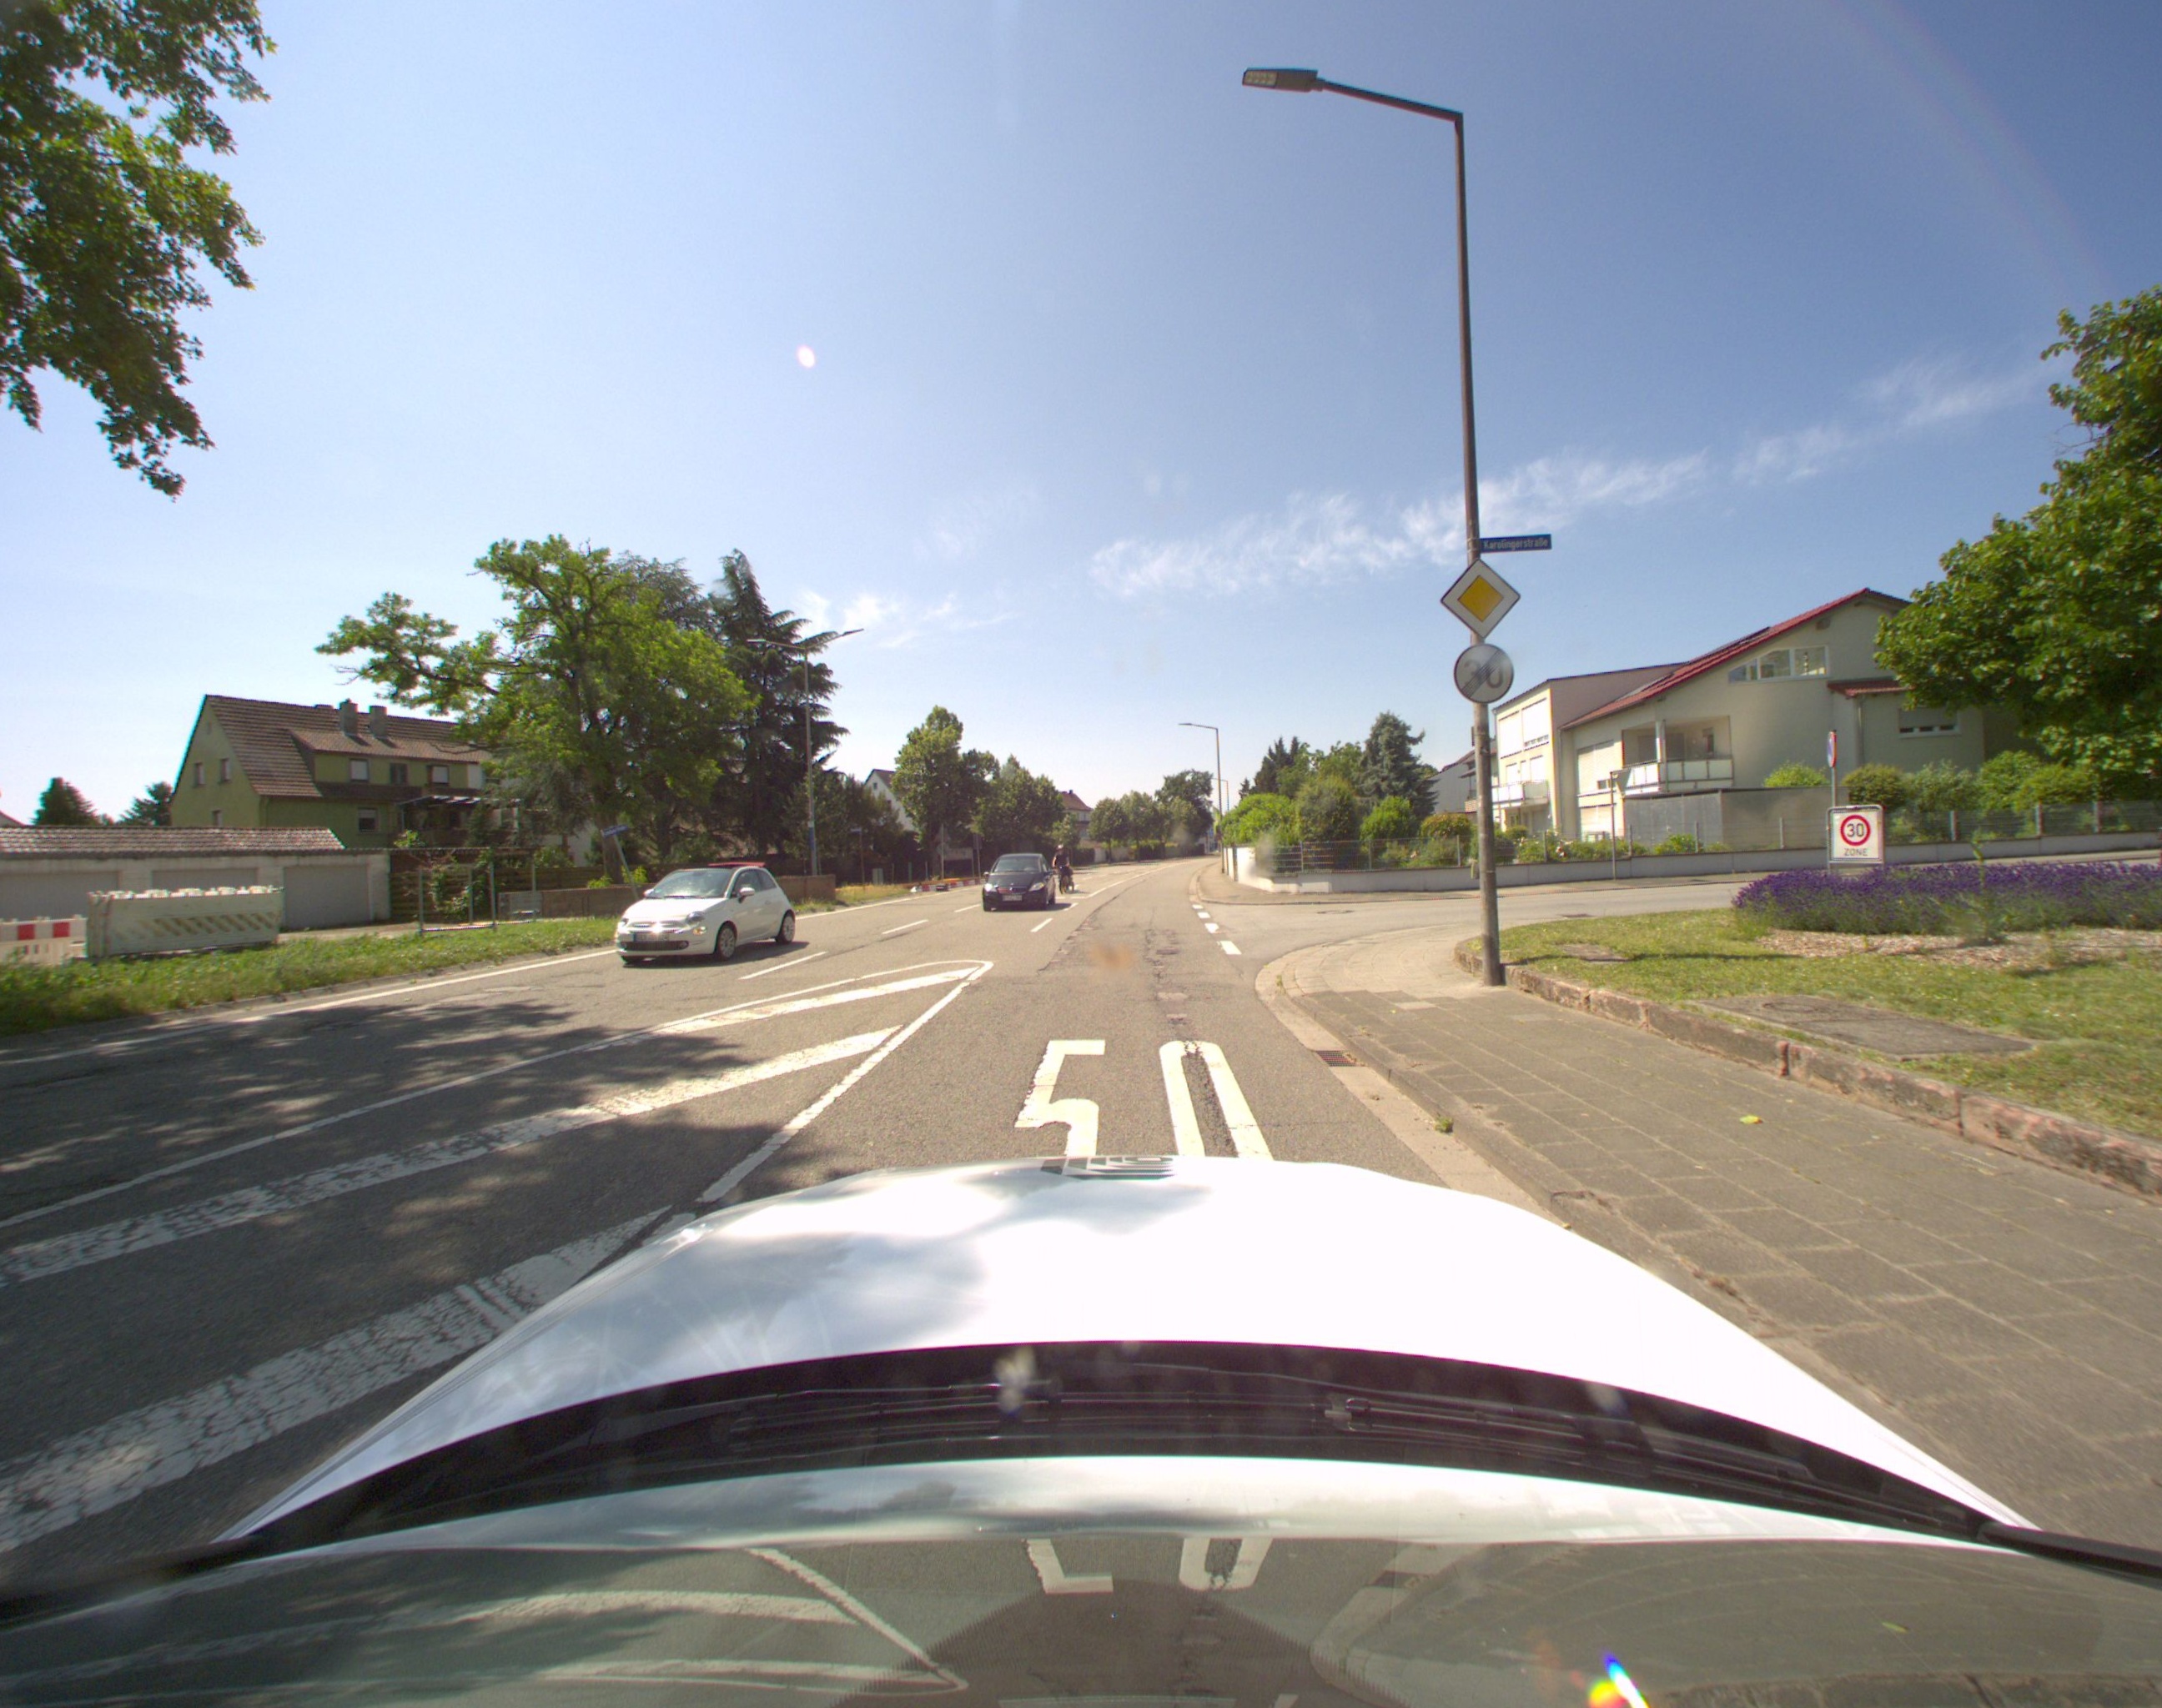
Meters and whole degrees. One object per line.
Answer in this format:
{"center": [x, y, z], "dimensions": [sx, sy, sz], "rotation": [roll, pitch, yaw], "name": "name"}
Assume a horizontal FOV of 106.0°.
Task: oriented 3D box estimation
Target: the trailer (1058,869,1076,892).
{"center": [-0.568, 1.061, 33.117], "dimensions": [0.567, 0.856, 1.134], "rotation": [-3, 0, 6], "name": "trailer"}

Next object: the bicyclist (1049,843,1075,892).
{"center": [-0.723, 0.521, 31.565], "dimensions": [0.841, 1.865, 0.978], "rotation": [-2, 0, 6], "name": "bicyclist"}

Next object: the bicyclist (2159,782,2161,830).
{"center": [21.950, -0.690, 15.766], "dimensions": [0.921, 1.530, 0.858], "rotation": [-3, 0, 6], "name": "bicyclist"}

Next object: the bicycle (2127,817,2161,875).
{"center": [21.927, -0.198, 15.761], "dimensions": [2.130, 1.103, 0.817], "rotation": [-3, 0, 4], "name": "bicycle"}

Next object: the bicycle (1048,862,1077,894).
{"center": [-0.713, 0.903, 31.562], "dimensions": [0.846, 1.166, 1.980], "rotation": [-2, 0, 6], "name": "bicycle"}

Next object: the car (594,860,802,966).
{"center": [-6.232, 0.876, 13.712], "dimensions": [1.692, 1.510, 3.462], "rotation": [-1, 0, 3], "name": "car"}

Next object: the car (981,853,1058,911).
{"center": [-1.704, 0.744, 23.618], "dimensions": [1.718, 1.532, 3.833], "rotation": [-1, 0, 3], "name": "car"}
